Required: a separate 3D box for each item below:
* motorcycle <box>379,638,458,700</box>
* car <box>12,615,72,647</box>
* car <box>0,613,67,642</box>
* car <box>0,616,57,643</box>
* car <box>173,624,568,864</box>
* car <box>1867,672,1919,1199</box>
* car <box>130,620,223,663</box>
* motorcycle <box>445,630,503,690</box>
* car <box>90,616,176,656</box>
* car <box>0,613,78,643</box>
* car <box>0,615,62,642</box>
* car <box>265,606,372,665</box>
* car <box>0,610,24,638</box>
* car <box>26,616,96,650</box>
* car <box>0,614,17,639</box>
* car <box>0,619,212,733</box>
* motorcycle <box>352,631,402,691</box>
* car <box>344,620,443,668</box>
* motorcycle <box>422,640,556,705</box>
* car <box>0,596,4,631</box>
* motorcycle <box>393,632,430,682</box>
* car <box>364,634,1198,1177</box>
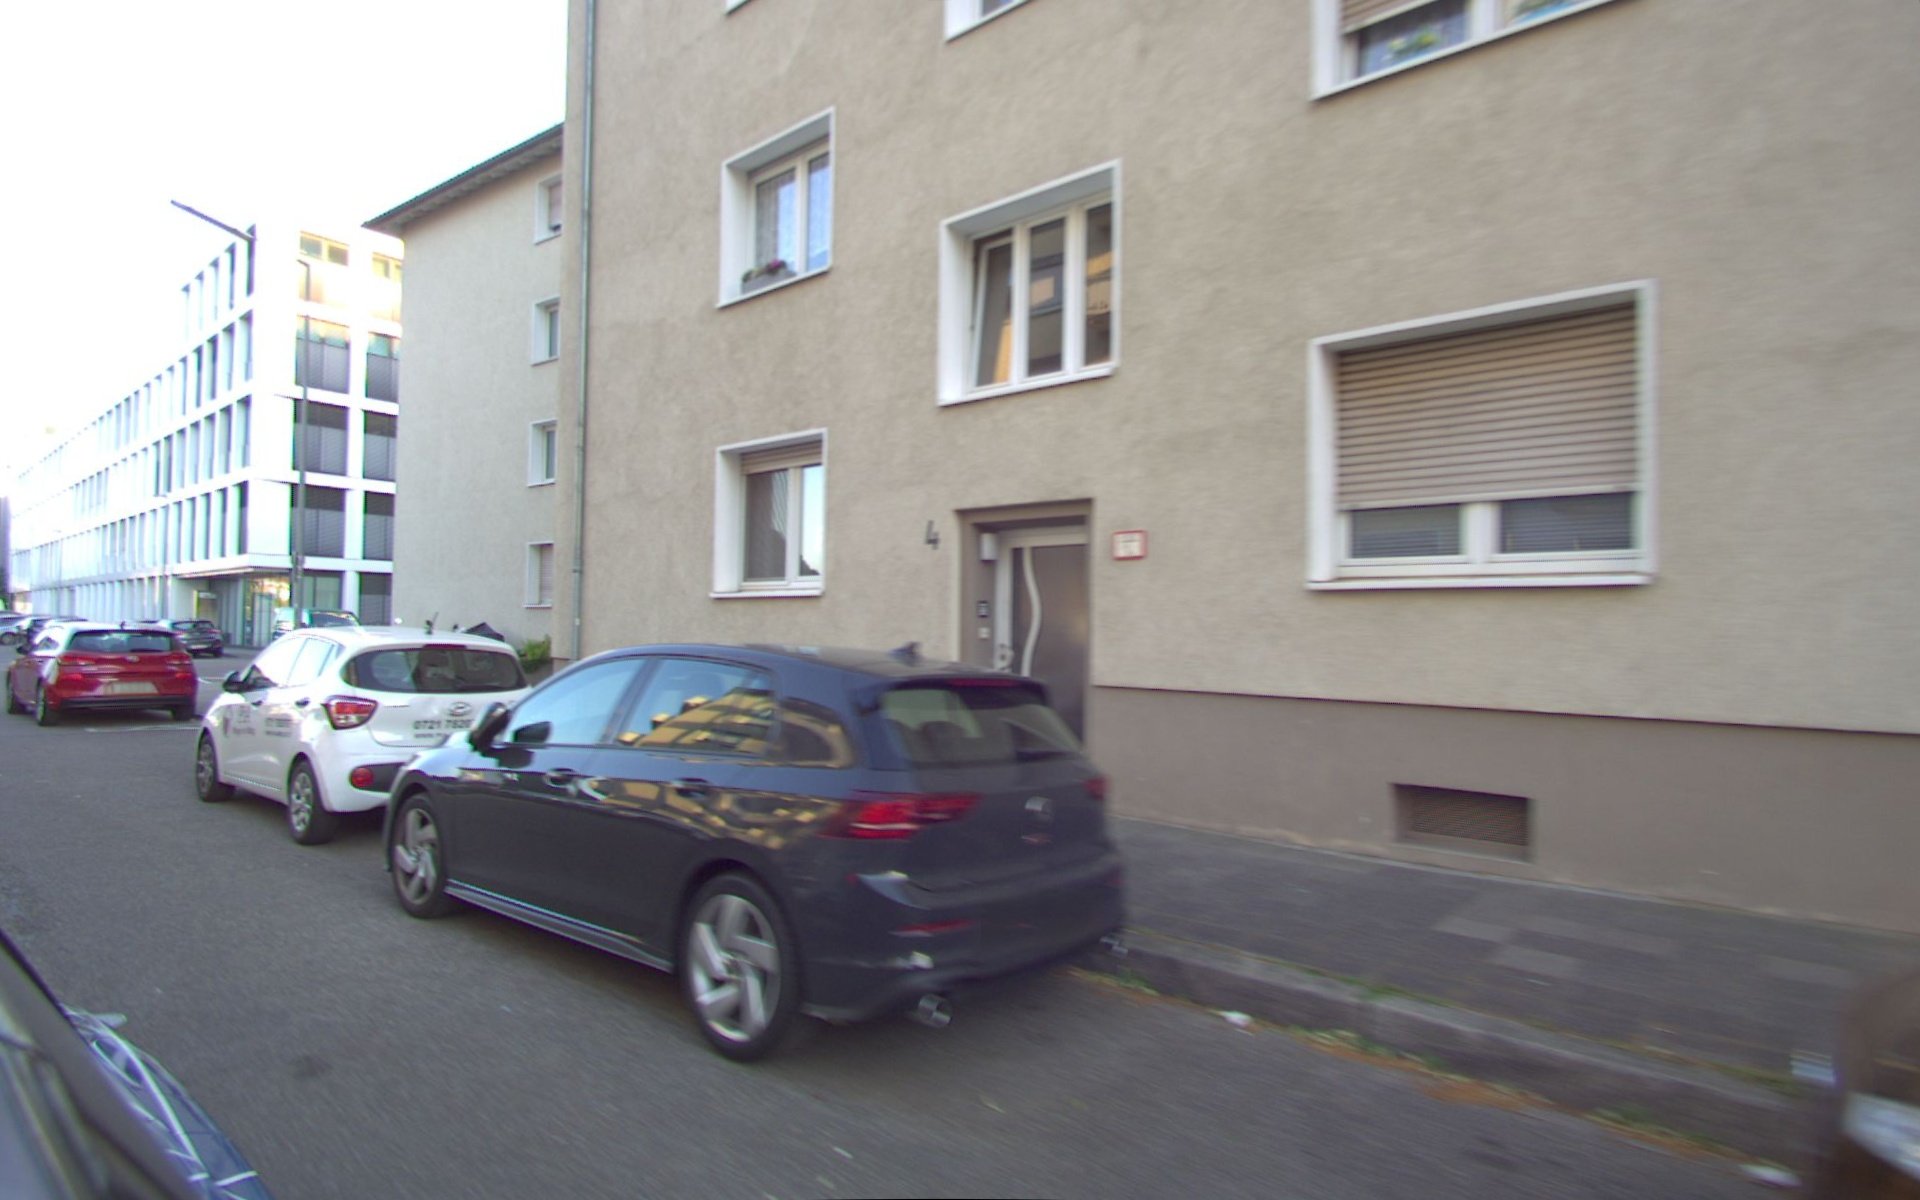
[{"bbox_3d":[-10.393,1.301,19.392,2.034,1.087,0.674,-1,-2,43],"label":"motorcycle"},{"bbox_3d":[-46.332,1.526,51.050,4.197,1.449,1.632,-1,1,39],"label":"car"},{"bbox_3d":[-51.393,1.503,55.346,1.686,1.523,3.617,-1,-2,40],"label":"car"},{"bbox_3d":[-54.919,1.702,58.432,1.795,1.523,3.923,-1,-2,41],"label":"car"},{"bbox_3d":[-4.864,0.992,8.195,3.502,1.484,1.599,0,-4,40],"label":"car"},{"bbox_3d":[3.335,0.864,0.812,3.793,1.445,1.636,0,-4,40],"label":"car"},{"bbox_3d":[-29.394,1.511,37.933,4.325,1.490,1.763,-1,-1,38],"label":"car"},{"bbox_3d":[-10.929,1.320,22.733,0.714,1.274,2.085,2,-2,-38],"label":"motorcycle"},{"bbox_3d":[-33.978,1.442,41.542,4.175,1.490,1.695,-1,1,35],"label":"car"},{"bbox_3d":[-49.146,1.471,53.289,1.686,1.523,3.886,-1,-2,40],"label":"car"},{"bbox_3d":[-53.065,1.588,56.925,1.686,1.523,3.617,-1,-2,40],"label":"car"},{"bbox_3d":[-23.673,1.260,37.299,4.682,1.995,1.781,1,-2,38],"label":"car"},{"bbox_3d":[-61.092,1.489,62.585,2.004,1.719,4.568,-1,-2,43],"label":"car"},{"bbox_3d":[-41.791,1.481,47.034,4.178,1.449,1.633,-1,1,37],"label":"car"},{"bbox_3d":[-59.328,1.584,60.959,1.696,1.523,3.626,-1,-2,43],"label":"car"},{"bbox_3d":[-13.180,1.070,15.505,4.075,1.484,1.826,0,-2,40],"label":"car"},{"bbox_3d":[-12.085,1.232,21.018,0.679,1.169,2.040,2,-2,-24],"label":"motorcycle"},{"bbox_3d":[-21.807,1.664,38.909,4.325,1.561,1.762,2,-1,38],"label":"car"},{"bbox_3d":[-8.470,1.281,18.248,2.096,1.114,0.561,2,-2,-38],"label":"motorcycle"},{"bbox_3d":[-74.787,1.013,75.124,2.077,2.653,5.325,-1,-2,40],"label":"car"},{"bbox_3d":[-12.835,1.312,23.694,0.713,1.087,2.087,2,-2,-28],"label":"motorcycle"},{"bbox_3d":[-1.104,0.948,4.790,4.028,1.445,1.642,0,-4,40],"label":"car"}]
